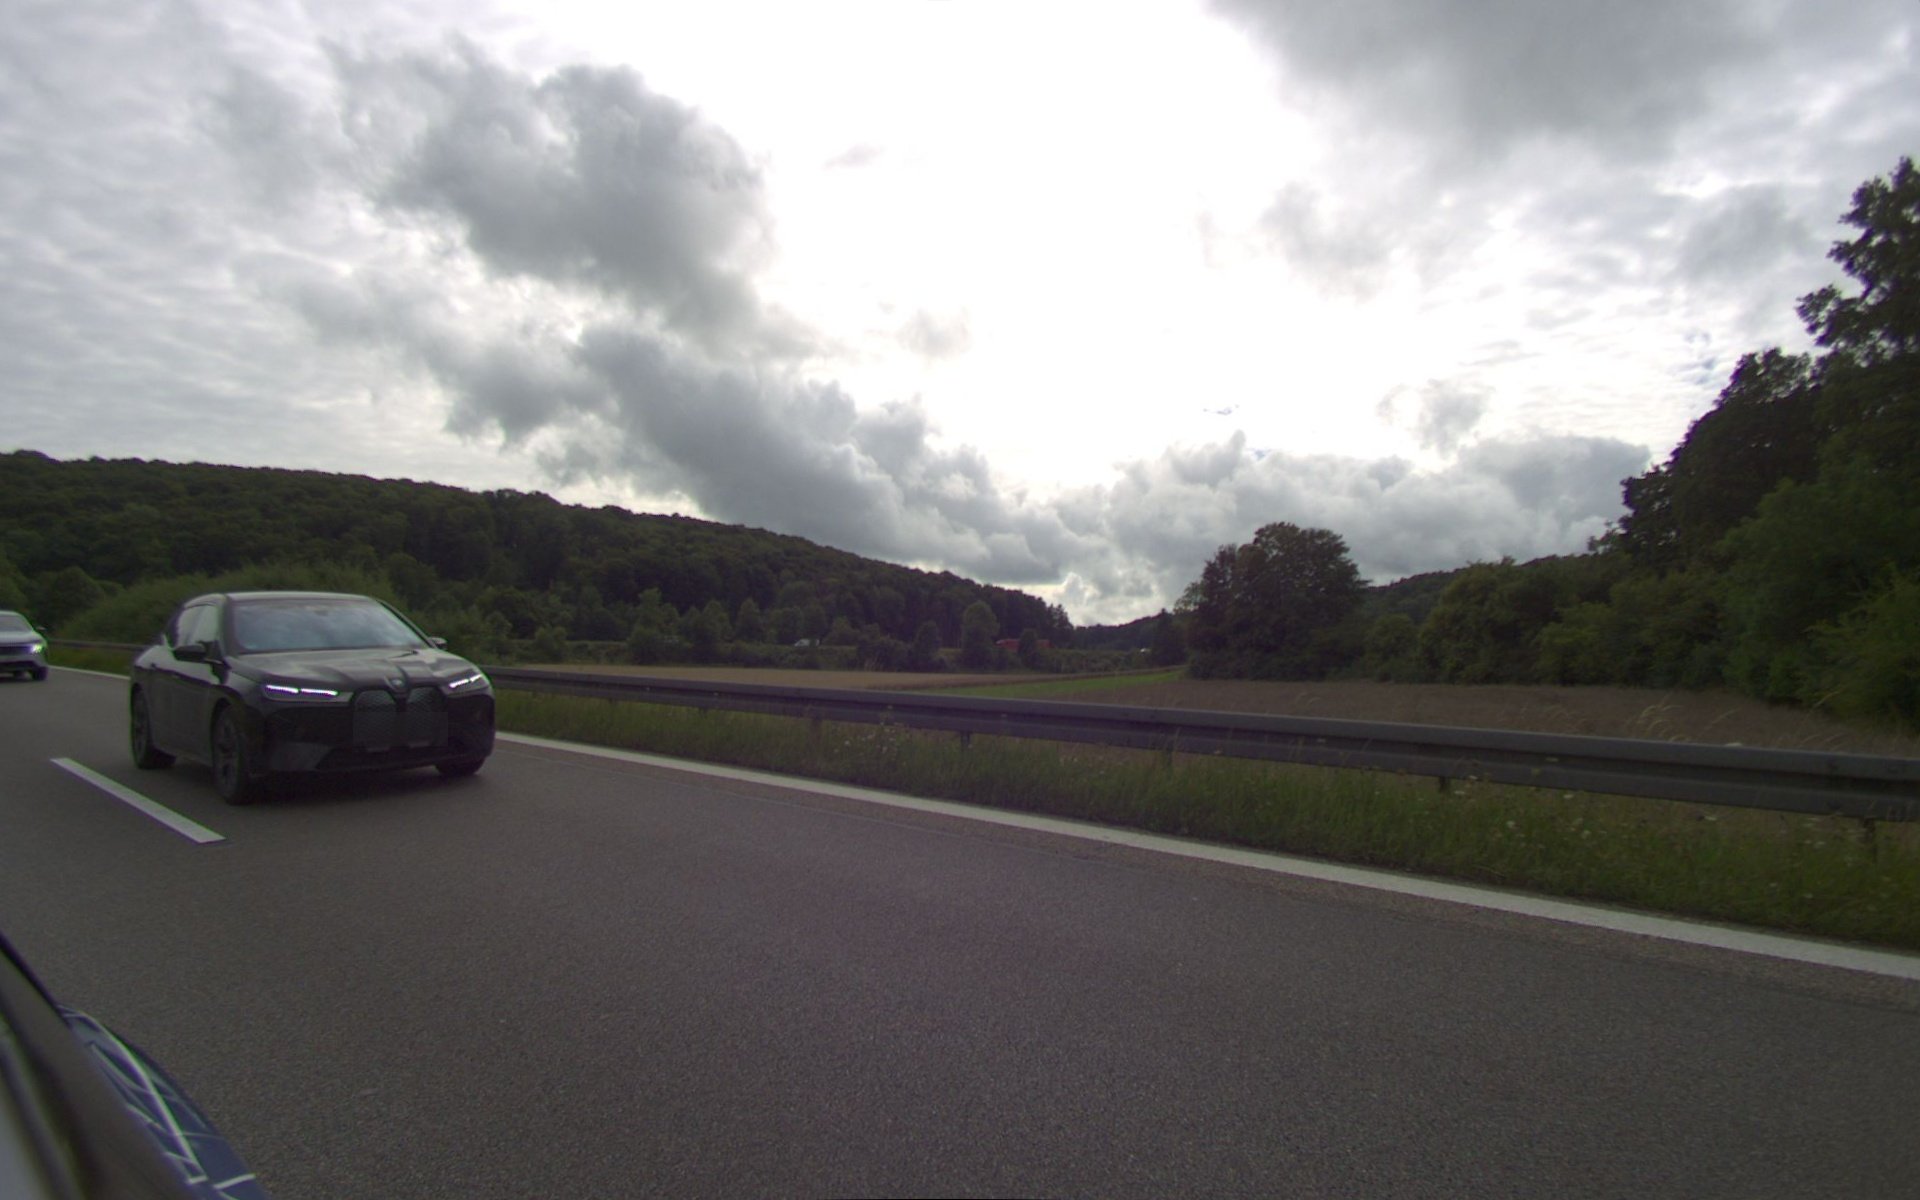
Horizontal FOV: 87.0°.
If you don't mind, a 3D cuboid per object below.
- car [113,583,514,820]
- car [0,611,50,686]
[{"bbox_3d":[-6.139,0.765,9.396,4.412,1.678,1.973,-1,-1,41],"label":"car"},{"bbox_3d":[-23.473,1.144,24.203,4.411,1.678,1.973,-2,-1,40],"label":"car"}]
